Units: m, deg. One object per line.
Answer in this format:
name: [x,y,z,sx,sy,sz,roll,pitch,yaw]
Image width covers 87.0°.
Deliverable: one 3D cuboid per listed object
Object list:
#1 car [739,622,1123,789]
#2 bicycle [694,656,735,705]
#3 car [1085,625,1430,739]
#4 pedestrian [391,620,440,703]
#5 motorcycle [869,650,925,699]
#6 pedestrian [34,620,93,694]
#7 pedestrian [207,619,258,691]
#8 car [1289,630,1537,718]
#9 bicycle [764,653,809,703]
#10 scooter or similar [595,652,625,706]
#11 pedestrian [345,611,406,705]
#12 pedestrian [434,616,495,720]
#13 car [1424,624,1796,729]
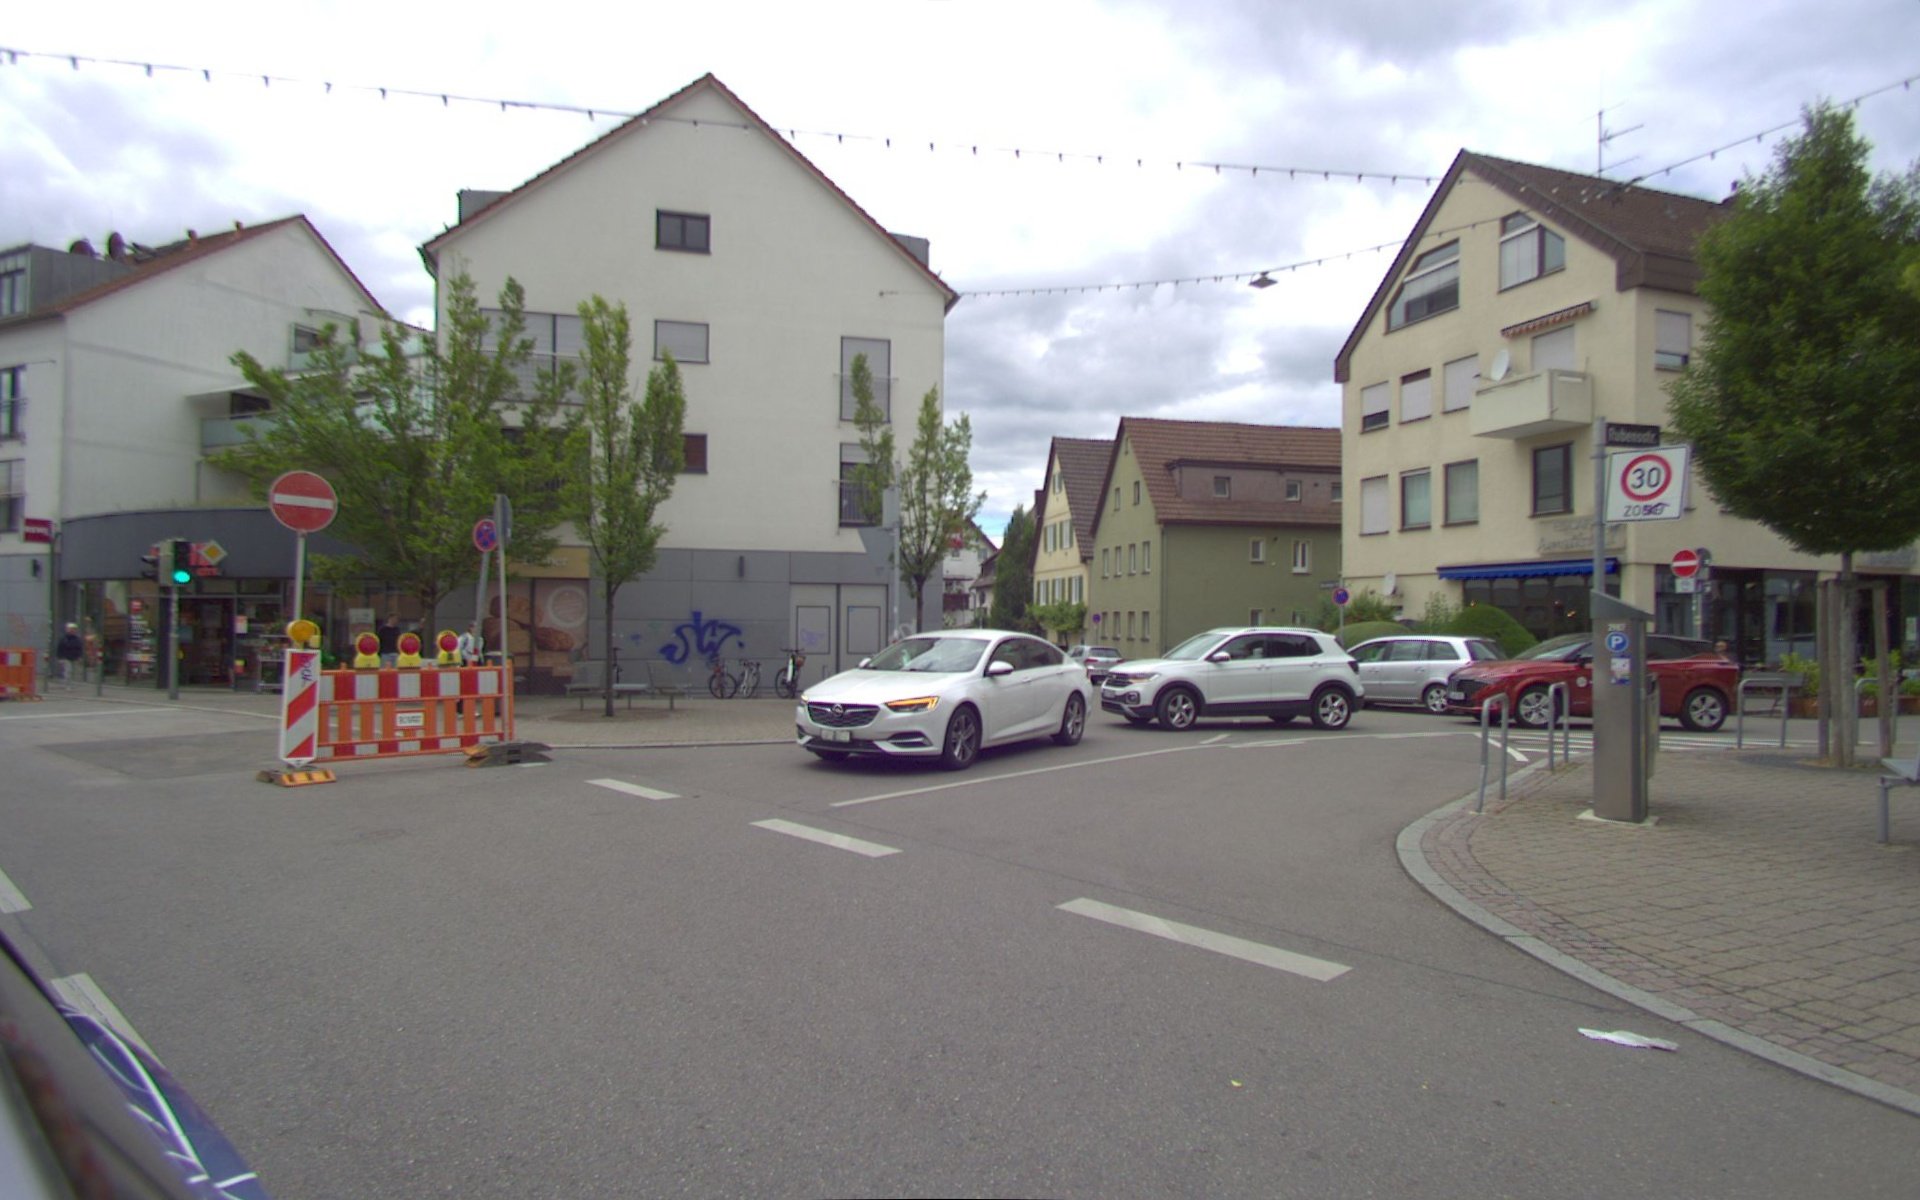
car: [-0.070,1.039,11.988,2.242,1.488,4.865,-2,-1,32]
bicycle: [-5.577,1.813,22.916,0.738,1.054,2.158,1,-4,-18]
car: [4.643,1.235,16.173,4.839,1.569,2.026,-1,-1,-10]
pedestrian: [-12.103,1.352,22.498,0.708,1.804,0.694,-1,-2,0]
motorcycle: [-1.551,1.795,24.643,0.789,1.113,1.961,1,-2,-21]
pedestrian: [-21.498,1.353,24.270,0.813,1.726,0.826,-2,-3,31]
pedestrian: [-19.263,1.444,26.800,0.749,1.858,0.784,-1,-2,19]
car: [9.393,1.471,21.277,1.969,1.652,4.333,2,-3,-42]
bicycle: [-4.016,1.784,23.361,0.798,1.082,1.966,1,-4,-16]
scooter or similar: [-7.820,1.752,22.623,0.587,1.132,1.537,0,-2,-18]
pedestrian: [-12.233,1.203,21.207,0.774,1.940,0.816,-1,-2,3]
pedestrian: [-7.928,1.064,16.174,0.672,1.604,0.880,2,-3,-39]
car: [10.747,1.236,17.039,4.851,1.569,2.021,-1,-1,1]
